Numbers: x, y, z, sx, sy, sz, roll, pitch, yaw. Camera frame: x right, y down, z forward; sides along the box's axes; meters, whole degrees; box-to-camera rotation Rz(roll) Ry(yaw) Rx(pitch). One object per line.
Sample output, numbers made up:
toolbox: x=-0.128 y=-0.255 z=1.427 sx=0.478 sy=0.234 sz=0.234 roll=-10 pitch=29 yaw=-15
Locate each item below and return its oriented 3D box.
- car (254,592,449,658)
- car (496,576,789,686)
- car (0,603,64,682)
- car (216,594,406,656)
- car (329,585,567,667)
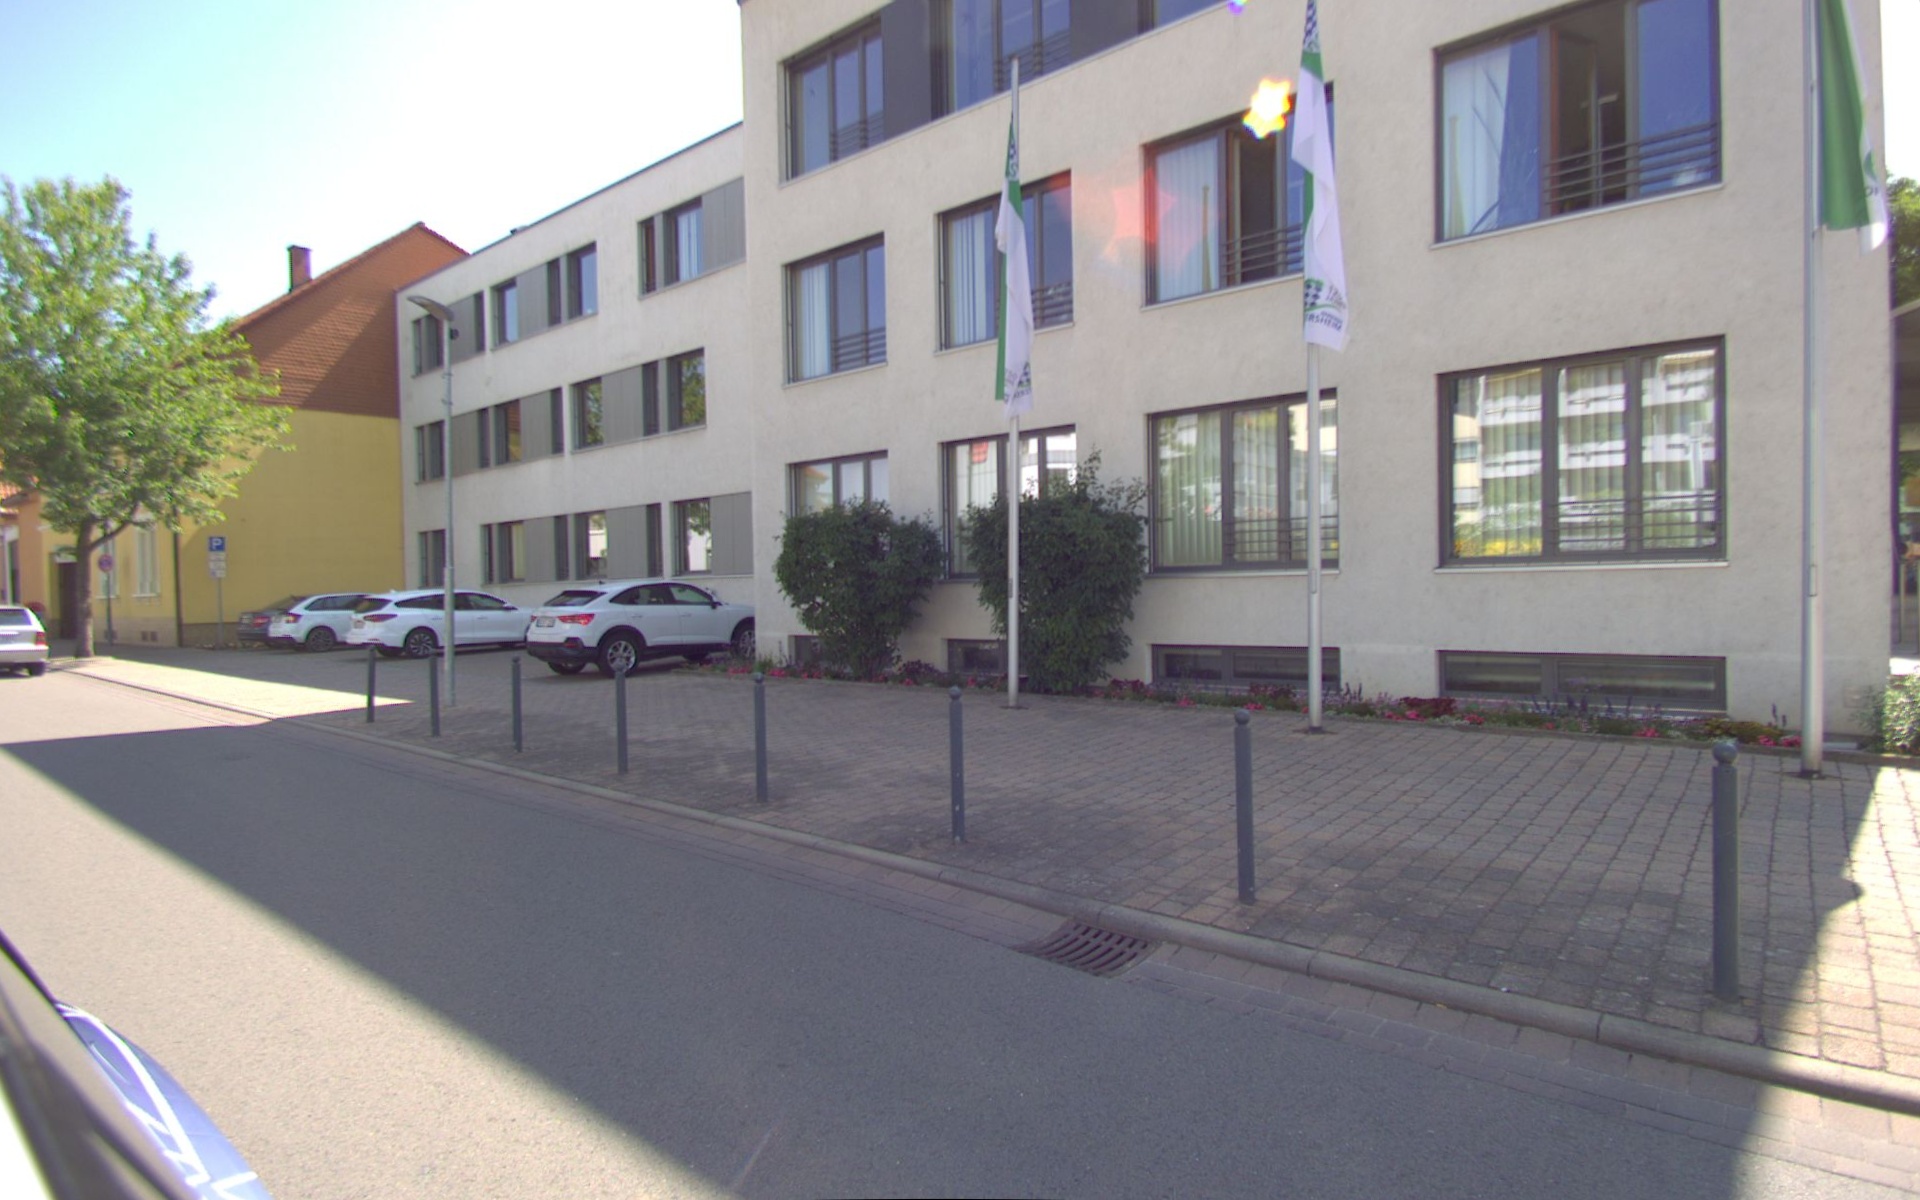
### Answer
car: x=-15.714 y=0.602 z=26.273 sx=1.806 sy=1.462 sz=3.947 roll=-1 pitch=1 yaw=40
car: x=-5.420 y=0.435 z=17.791 sx=2.145 sy=1.565 sz=4.463 roll=-1 pitch=2 yaw=38
car: x=-19.850 y=0.830 z=20.488 sx=4.431 sy=1.475 sz=1.862 roll=-1 pitch=-2 yaw=39
car: x=-17.806 y=0.646 z=27.928 sx=1.968 sy=1.442 sz=3.952 roll=-2 pitch=1 yaw=36
car: x=-11.642 y=0.502 z=23.279 sx=1.933 sy=1.565 sz=4.459 roll=1 pitch=3 yaw=40
